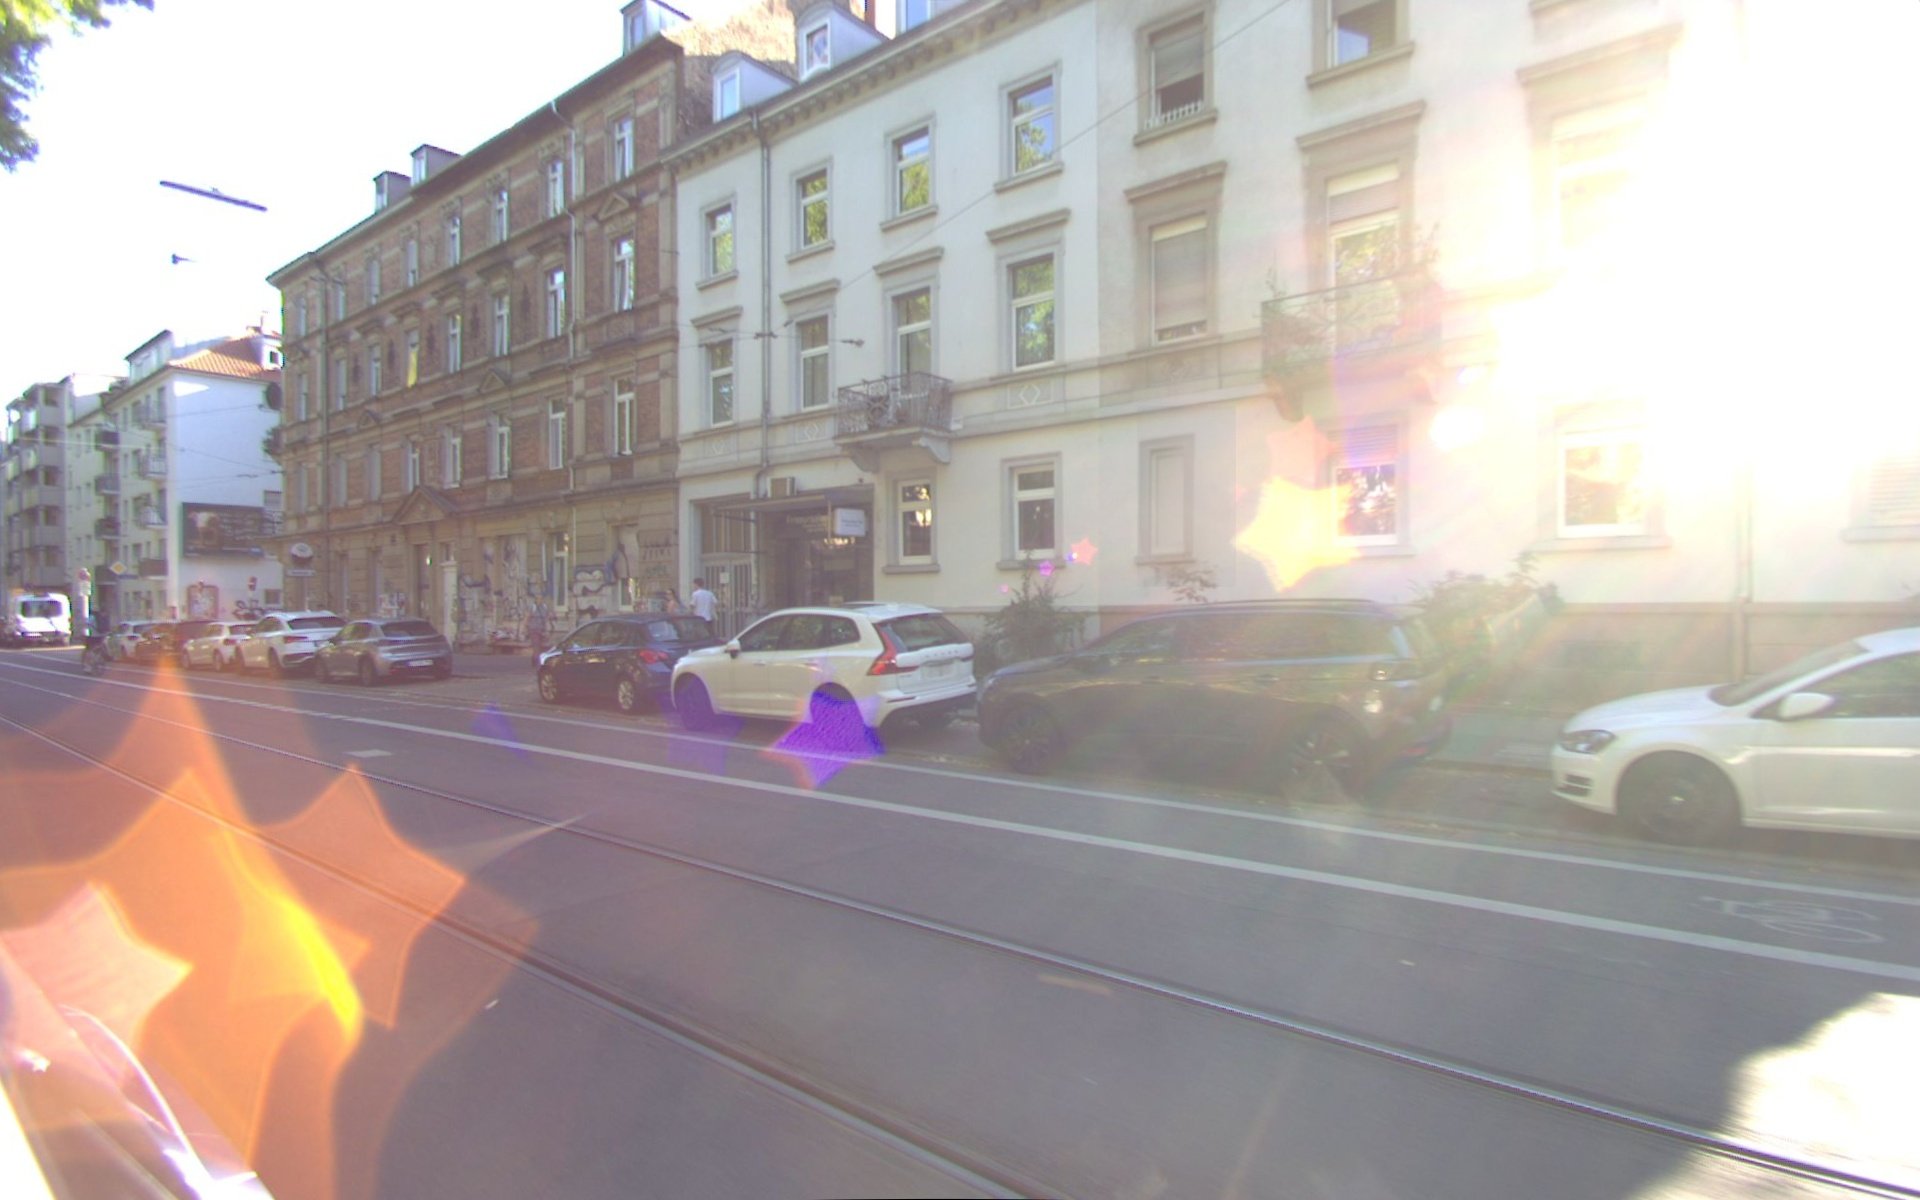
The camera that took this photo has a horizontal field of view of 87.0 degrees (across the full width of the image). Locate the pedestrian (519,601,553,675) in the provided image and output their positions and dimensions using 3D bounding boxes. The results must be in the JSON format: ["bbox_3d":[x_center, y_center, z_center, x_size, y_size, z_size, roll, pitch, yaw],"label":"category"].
[{"bbox_3d":[-9.928,0.876,23.734,0.653,1.678,0.771,-1,0,-19],"label":"pedestrian"}]

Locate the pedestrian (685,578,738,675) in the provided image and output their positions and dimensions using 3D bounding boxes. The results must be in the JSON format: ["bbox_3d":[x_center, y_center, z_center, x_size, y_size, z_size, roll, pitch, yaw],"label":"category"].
[{"bbox_3d":[-5.332,0.568,21.709,0.829,2.029,0.752,-1,-1,38],"label":"pedestrian"}]

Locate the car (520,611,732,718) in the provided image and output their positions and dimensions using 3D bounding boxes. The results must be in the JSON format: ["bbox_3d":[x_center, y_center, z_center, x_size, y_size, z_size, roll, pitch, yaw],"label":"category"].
[{"bbox_3d":[-5.471,0.960,16.334,3.923,1.527,1.537,-1,-1,42],"label":"car"}]

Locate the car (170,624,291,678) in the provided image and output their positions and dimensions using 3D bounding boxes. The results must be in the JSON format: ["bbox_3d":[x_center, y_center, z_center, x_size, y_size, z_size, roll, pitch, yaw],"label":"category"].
[{"bbox_3d":[-21.375,1.441,29.621,3.991,1.431,1.684,-1,1,36],"label":"car"}]

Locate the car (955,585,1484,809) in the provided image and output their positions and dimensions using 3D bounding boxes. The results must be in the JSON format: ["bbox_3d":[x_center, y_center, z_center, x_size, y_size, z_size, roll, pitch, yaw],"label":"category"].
[{"bbox_3d":[2.372,0.785,9.849,4.648,1.716,1.841,-1,-1,35],"label":"car"}]

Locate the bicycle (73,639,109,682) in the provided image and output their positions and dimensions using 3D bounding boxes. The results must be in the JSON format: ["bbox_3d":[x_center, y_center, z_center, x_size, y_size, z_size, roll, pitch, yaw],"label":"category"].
[{"bbox_3d":[-23.637,1.633,27.508,1.845,1.094,0.476,-1,-1,41],"label":"bicycle"}]

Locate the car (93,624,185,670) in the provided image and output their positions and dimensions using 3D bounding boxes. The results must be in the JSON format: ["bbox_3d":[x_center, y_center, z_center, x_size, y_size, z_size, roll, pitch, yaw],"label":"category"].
[{"bbox_3d":[-29.509,1.639,36.347,4.040,1.503,1.724,-1,1,39],"label":"car"}]

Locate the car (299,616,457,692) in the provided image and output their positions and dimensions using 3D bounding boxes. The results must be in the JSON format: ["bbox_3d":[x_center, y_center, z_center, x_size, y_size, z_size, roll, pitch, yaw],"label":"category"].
[{"bbox_3d":[-13.182,1.156,22.856,4.058,1.532,1.647,-1,1,38],"label":"car"}]

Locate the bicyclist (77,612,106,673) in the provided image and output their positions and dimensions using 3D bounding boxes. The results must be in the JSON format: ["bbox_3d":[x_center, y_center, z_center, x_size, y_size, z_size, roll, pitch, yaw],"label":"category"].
[{"bbox_3d":[-23.580,1.143,27.470,0.799,1.648,0.468,-1,-1,40],"label":"bicyclist"}]

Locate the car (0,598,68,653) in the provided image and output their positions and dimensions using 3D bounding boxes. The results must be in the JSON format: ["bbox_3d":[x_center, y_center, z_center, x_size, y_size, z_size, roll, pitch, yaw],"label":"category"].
[{"bbox_3d":[-45.418,1.222,49.448,5.664,2.555,2.043,-1,-1,41],"label":"car"}]

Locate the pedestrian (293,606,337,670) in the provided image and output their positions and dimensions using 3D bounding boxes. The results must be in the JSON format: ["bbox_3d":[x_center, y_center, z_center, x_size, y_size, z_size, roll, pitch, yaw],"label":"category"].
[{"bbox_3d":[-19.029,1.108,29.855,1.053,1.814,0.679,-1,0,31],"label":"pedestrian"}]

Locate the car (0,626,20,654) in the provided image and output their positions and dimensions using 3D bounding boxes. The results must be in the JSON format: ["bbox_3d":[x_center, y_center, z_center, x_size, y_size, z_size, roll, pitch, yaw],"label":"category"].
[{"bbox_3d":[-53.783,2.208,56.331,4.570,1.467,1.700,-1,-1,41],"label":"car"}]

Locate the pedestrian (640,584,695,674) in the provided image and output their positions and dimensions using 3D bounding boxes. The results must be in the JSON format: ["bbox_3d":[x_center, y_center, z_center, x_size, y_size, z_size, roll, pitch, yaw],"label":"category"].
[{"bbox_3d":[-6.107,0.603,21.135,0.828,1.835,0.752,-1,-1,37],"label":"pedestrian"}]

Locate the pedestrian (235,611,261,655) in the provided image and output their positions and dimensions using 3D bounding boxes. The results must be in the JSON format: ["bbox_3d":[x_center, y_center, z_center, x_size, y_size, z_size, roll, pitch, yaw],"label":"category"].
[{"bbox_3d":[-29.568,1.363,42.021,0.893,1.762,0.649,-3,-1,43],"label":"pedestrian"}]

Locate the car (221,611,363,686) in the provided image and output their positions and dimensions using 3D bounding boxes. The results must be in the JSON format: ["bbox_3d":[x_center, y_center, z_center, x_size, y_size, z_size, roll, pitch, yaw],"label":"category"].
[{"bbox_3d":[-17.437,1.187,26.325,4.714,1.736,1.769,-1,1,40],"label":"car"}]

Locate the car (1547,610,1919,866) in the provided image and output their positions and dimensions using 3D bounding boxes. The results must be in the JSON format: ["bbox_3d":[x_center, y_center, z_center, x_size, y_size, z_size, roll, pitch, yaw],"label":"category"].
[{"bbox_3d":[6.429,0.832,6.617,4.254,1.488,1.670,-1,0,40],"label":"car"}]

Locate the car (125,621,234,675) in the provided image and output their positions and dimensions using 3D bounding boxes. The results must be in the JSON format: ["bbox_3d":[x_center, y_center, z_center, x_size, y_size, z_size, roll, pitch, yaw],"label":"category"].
[{"bbox_3d":[-25.512,1.517,33.013,4.780,1.574,1.724,-1,1,39],"label":"car"}]

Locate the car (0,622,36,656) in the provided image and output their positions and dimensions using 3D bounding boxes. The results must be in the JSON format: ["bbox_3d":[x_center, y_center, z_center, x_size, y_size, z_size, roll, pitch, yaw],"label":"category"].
[{"bbox_3d":[-49.718,2.008,52.723,4.341,1.644,1.702,-1,-1,38],"label":"car"}]

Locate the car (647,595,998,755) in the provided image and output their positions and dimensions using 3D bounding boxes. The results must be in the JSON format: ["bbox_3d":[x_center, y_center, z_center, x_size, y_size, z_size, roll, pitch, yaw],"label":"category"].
[{"bbox_3d":[-1.937,0.854,13.148,4.760,1.716,1.837,-1,-1,41],"label":"car"}]
